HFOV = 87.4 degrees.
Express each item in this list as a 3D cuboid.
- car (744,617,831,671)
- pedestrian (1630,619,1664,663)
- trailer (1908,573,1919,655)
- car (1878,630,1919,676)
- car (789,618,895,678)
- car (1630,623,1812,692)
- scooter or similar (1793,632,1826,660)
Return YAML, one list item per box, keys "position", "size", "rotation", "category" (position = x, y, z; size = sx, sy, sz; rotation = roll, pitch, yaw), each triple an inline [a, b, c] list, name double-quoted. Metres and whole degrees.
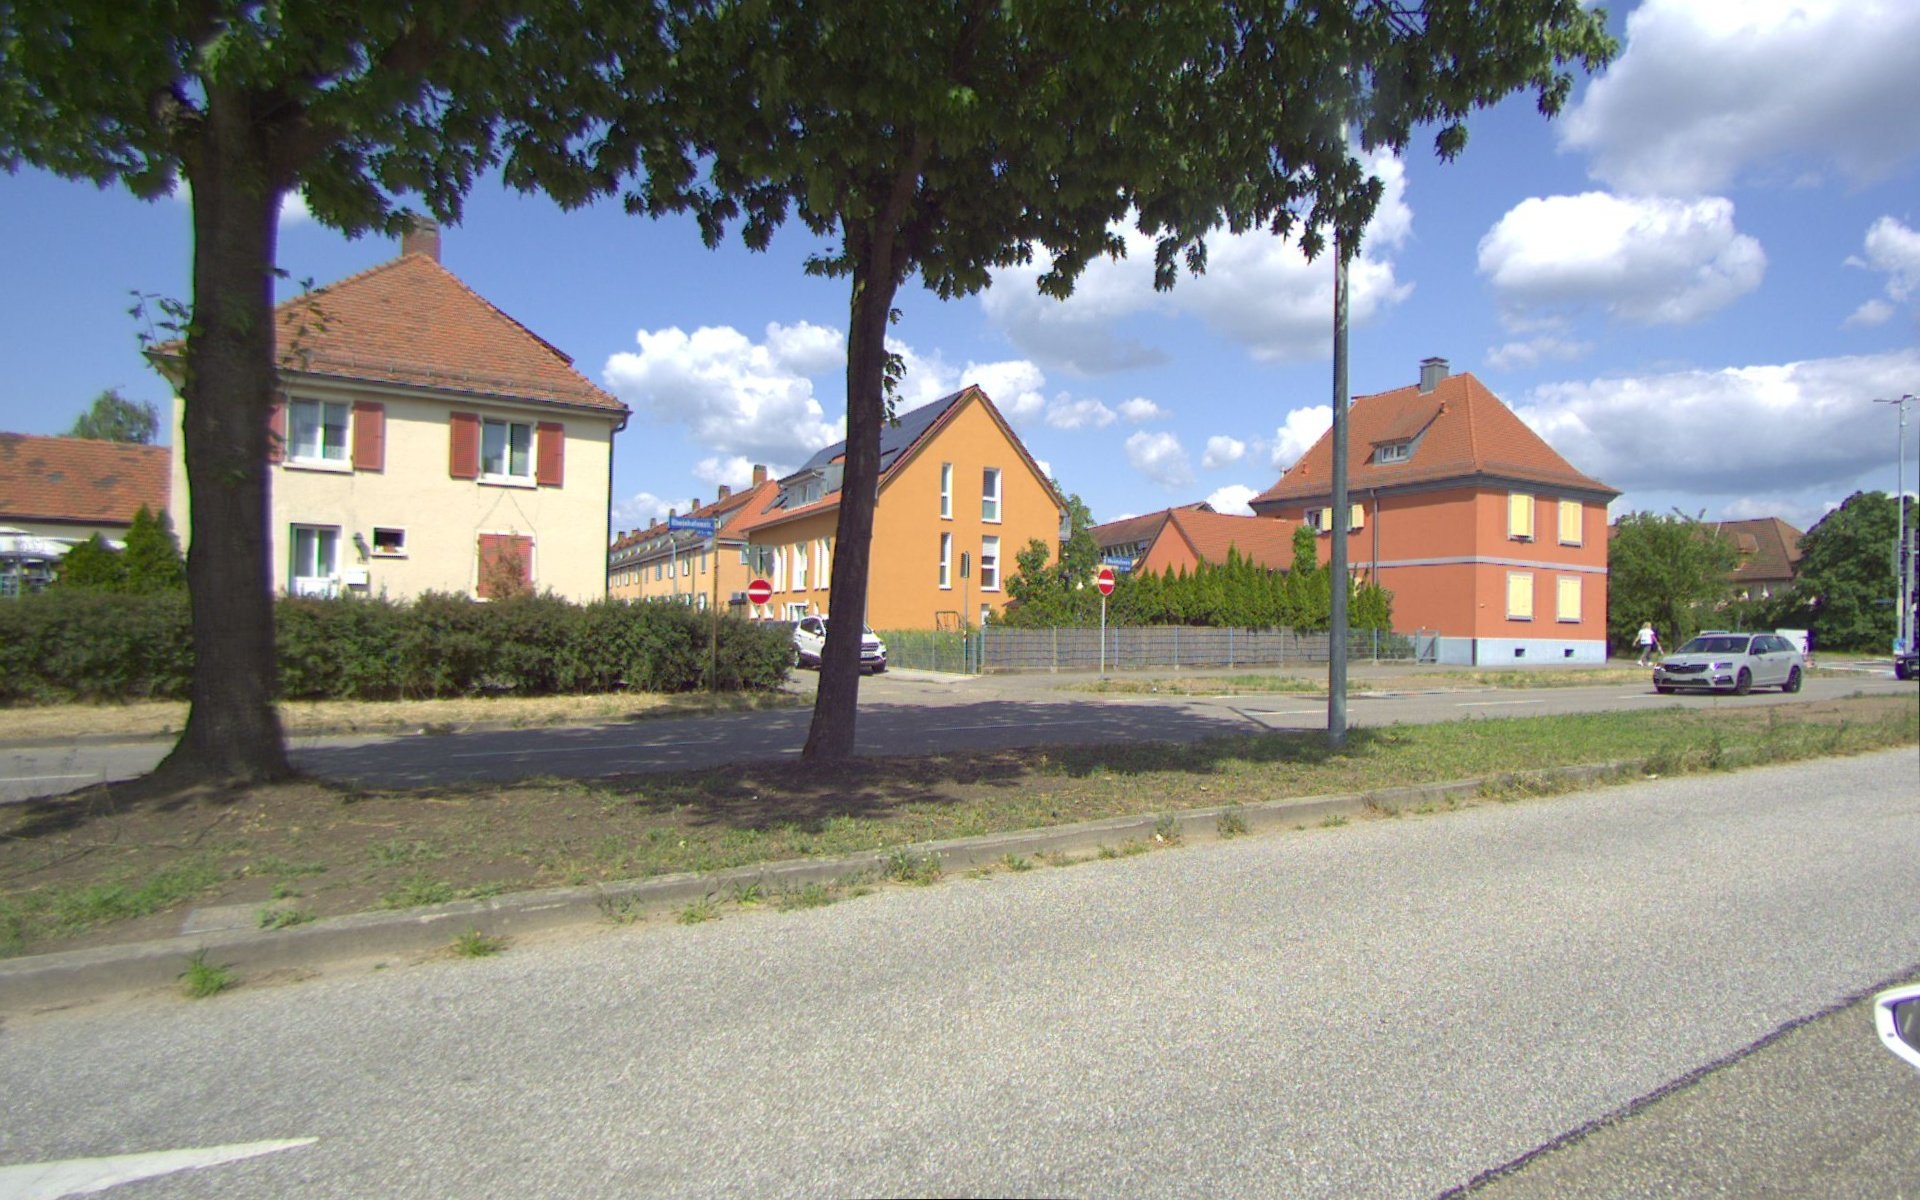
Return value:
- position: [-6.063, 1.483, 34.963]
  size: [1.974, 1.595, 3.974]
  rotation: [2, 0, -25]
  category: "car"
- position: [25.598, 1.527, 37.443]
  size: [0.841, 1.604, 0.692]
  rotation: [2, 0, -31]
  category: "pedestrian"
- position: [51.429, 0.706, 45.959]
  size: [3.585, 4.065, 11.244]
  rotation: [1, -1, -26]
  category: "trailer"
- position: [32.242, 1.767, 33.053]
  size: [4.523, 1.457, 1.763]
  rotation: [2, -3, -31]
  category: "car"
- position: [-3.637, 1.393, 30.253]
  size: [1.974, 1.639, 3.974]
  rotation: [2, -2, -25]
  category: "car"
- position: [18.397, 1.425, 24.247]
  size: [4.595, 1.527, 1.726]
  rotation: [2, -5, -28]
  category: "car"
- position: [37.590, 2.035, 44.445]
  size: [1.742, 1.179, 0.586]
  rotation: [2, 0, -31]
  category: "scooter or similar"
